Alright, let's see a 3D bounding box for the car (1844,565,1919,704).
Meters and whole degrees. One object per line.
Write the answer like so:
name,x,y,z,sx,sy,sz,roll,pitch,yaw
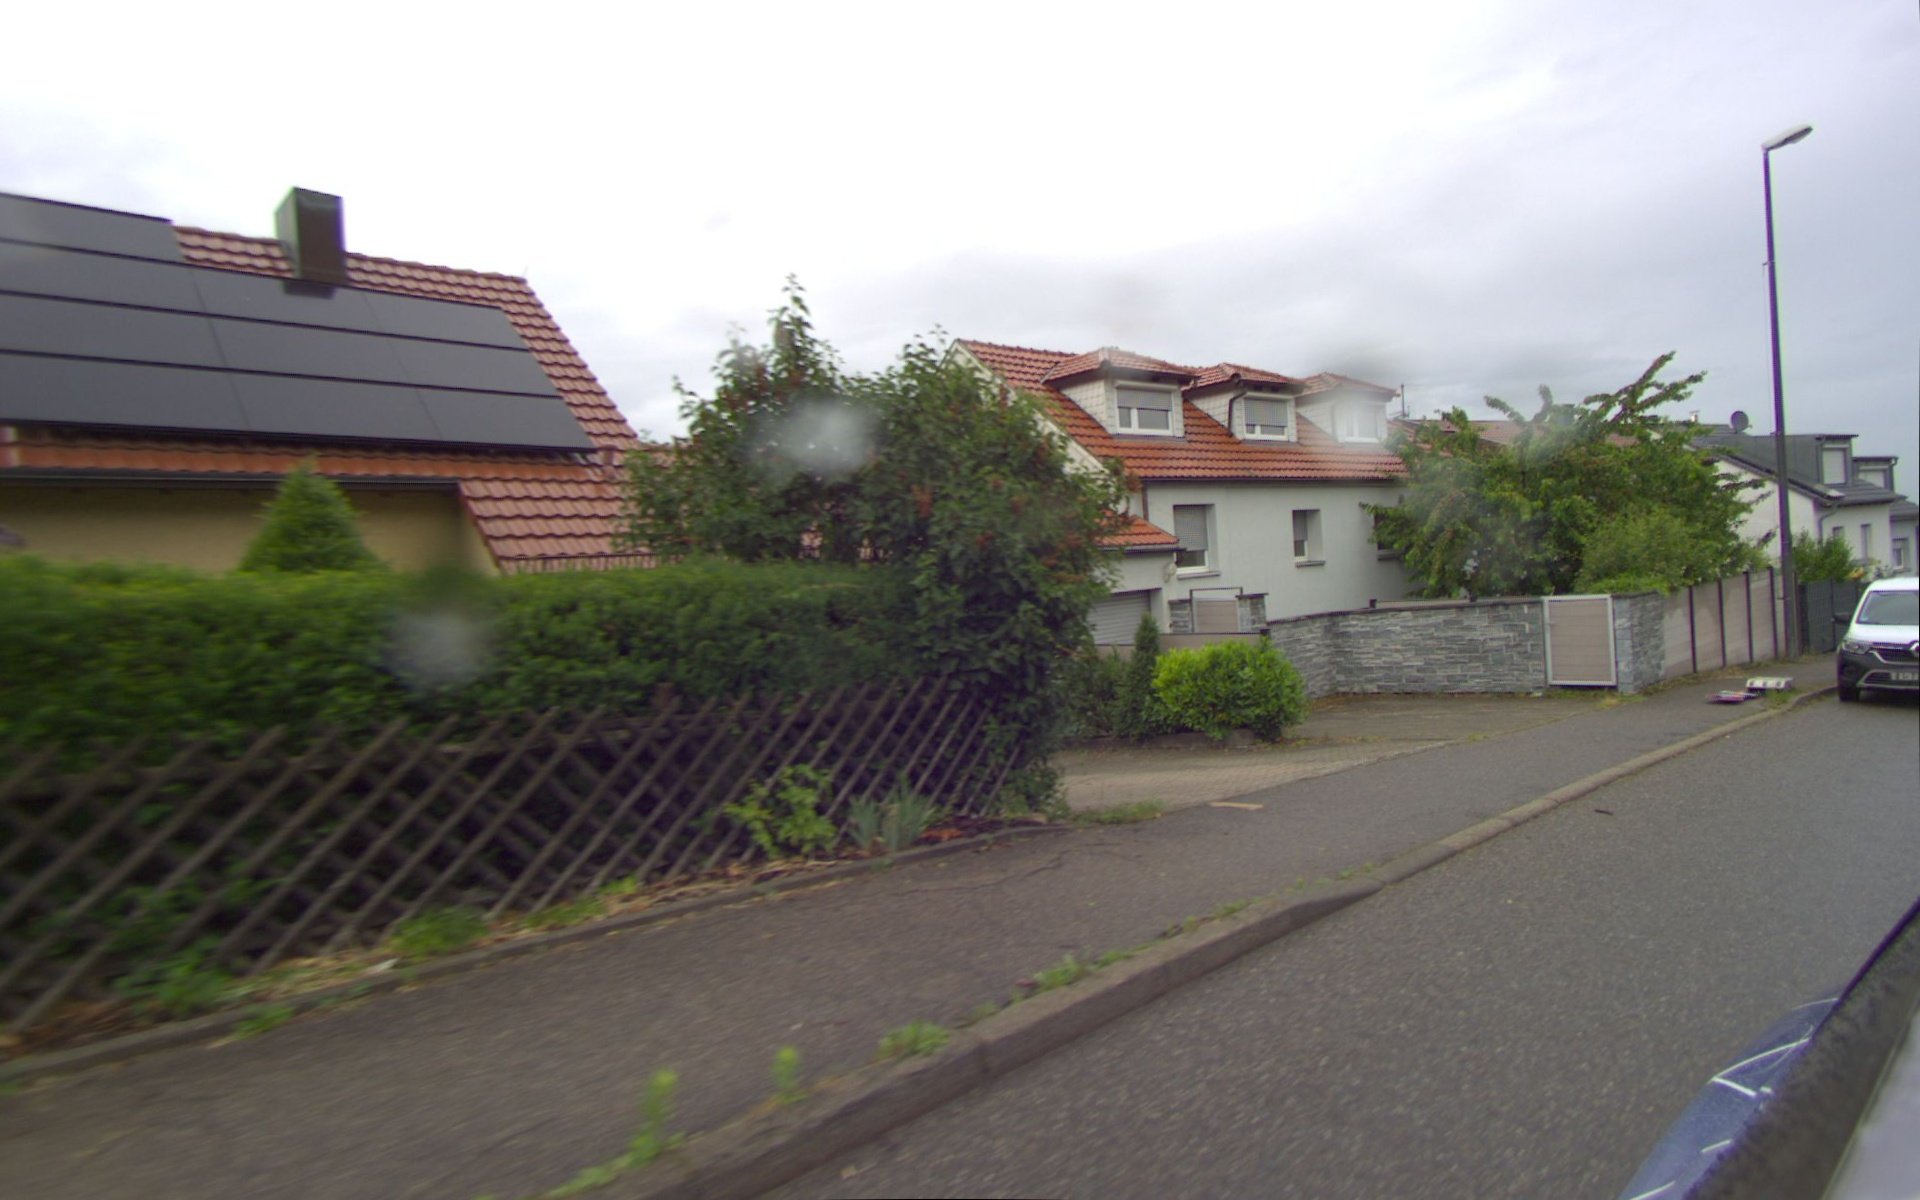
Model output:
car,14.401,0.417,14.726,4.627,1.826,1.781,-1,0,-42
